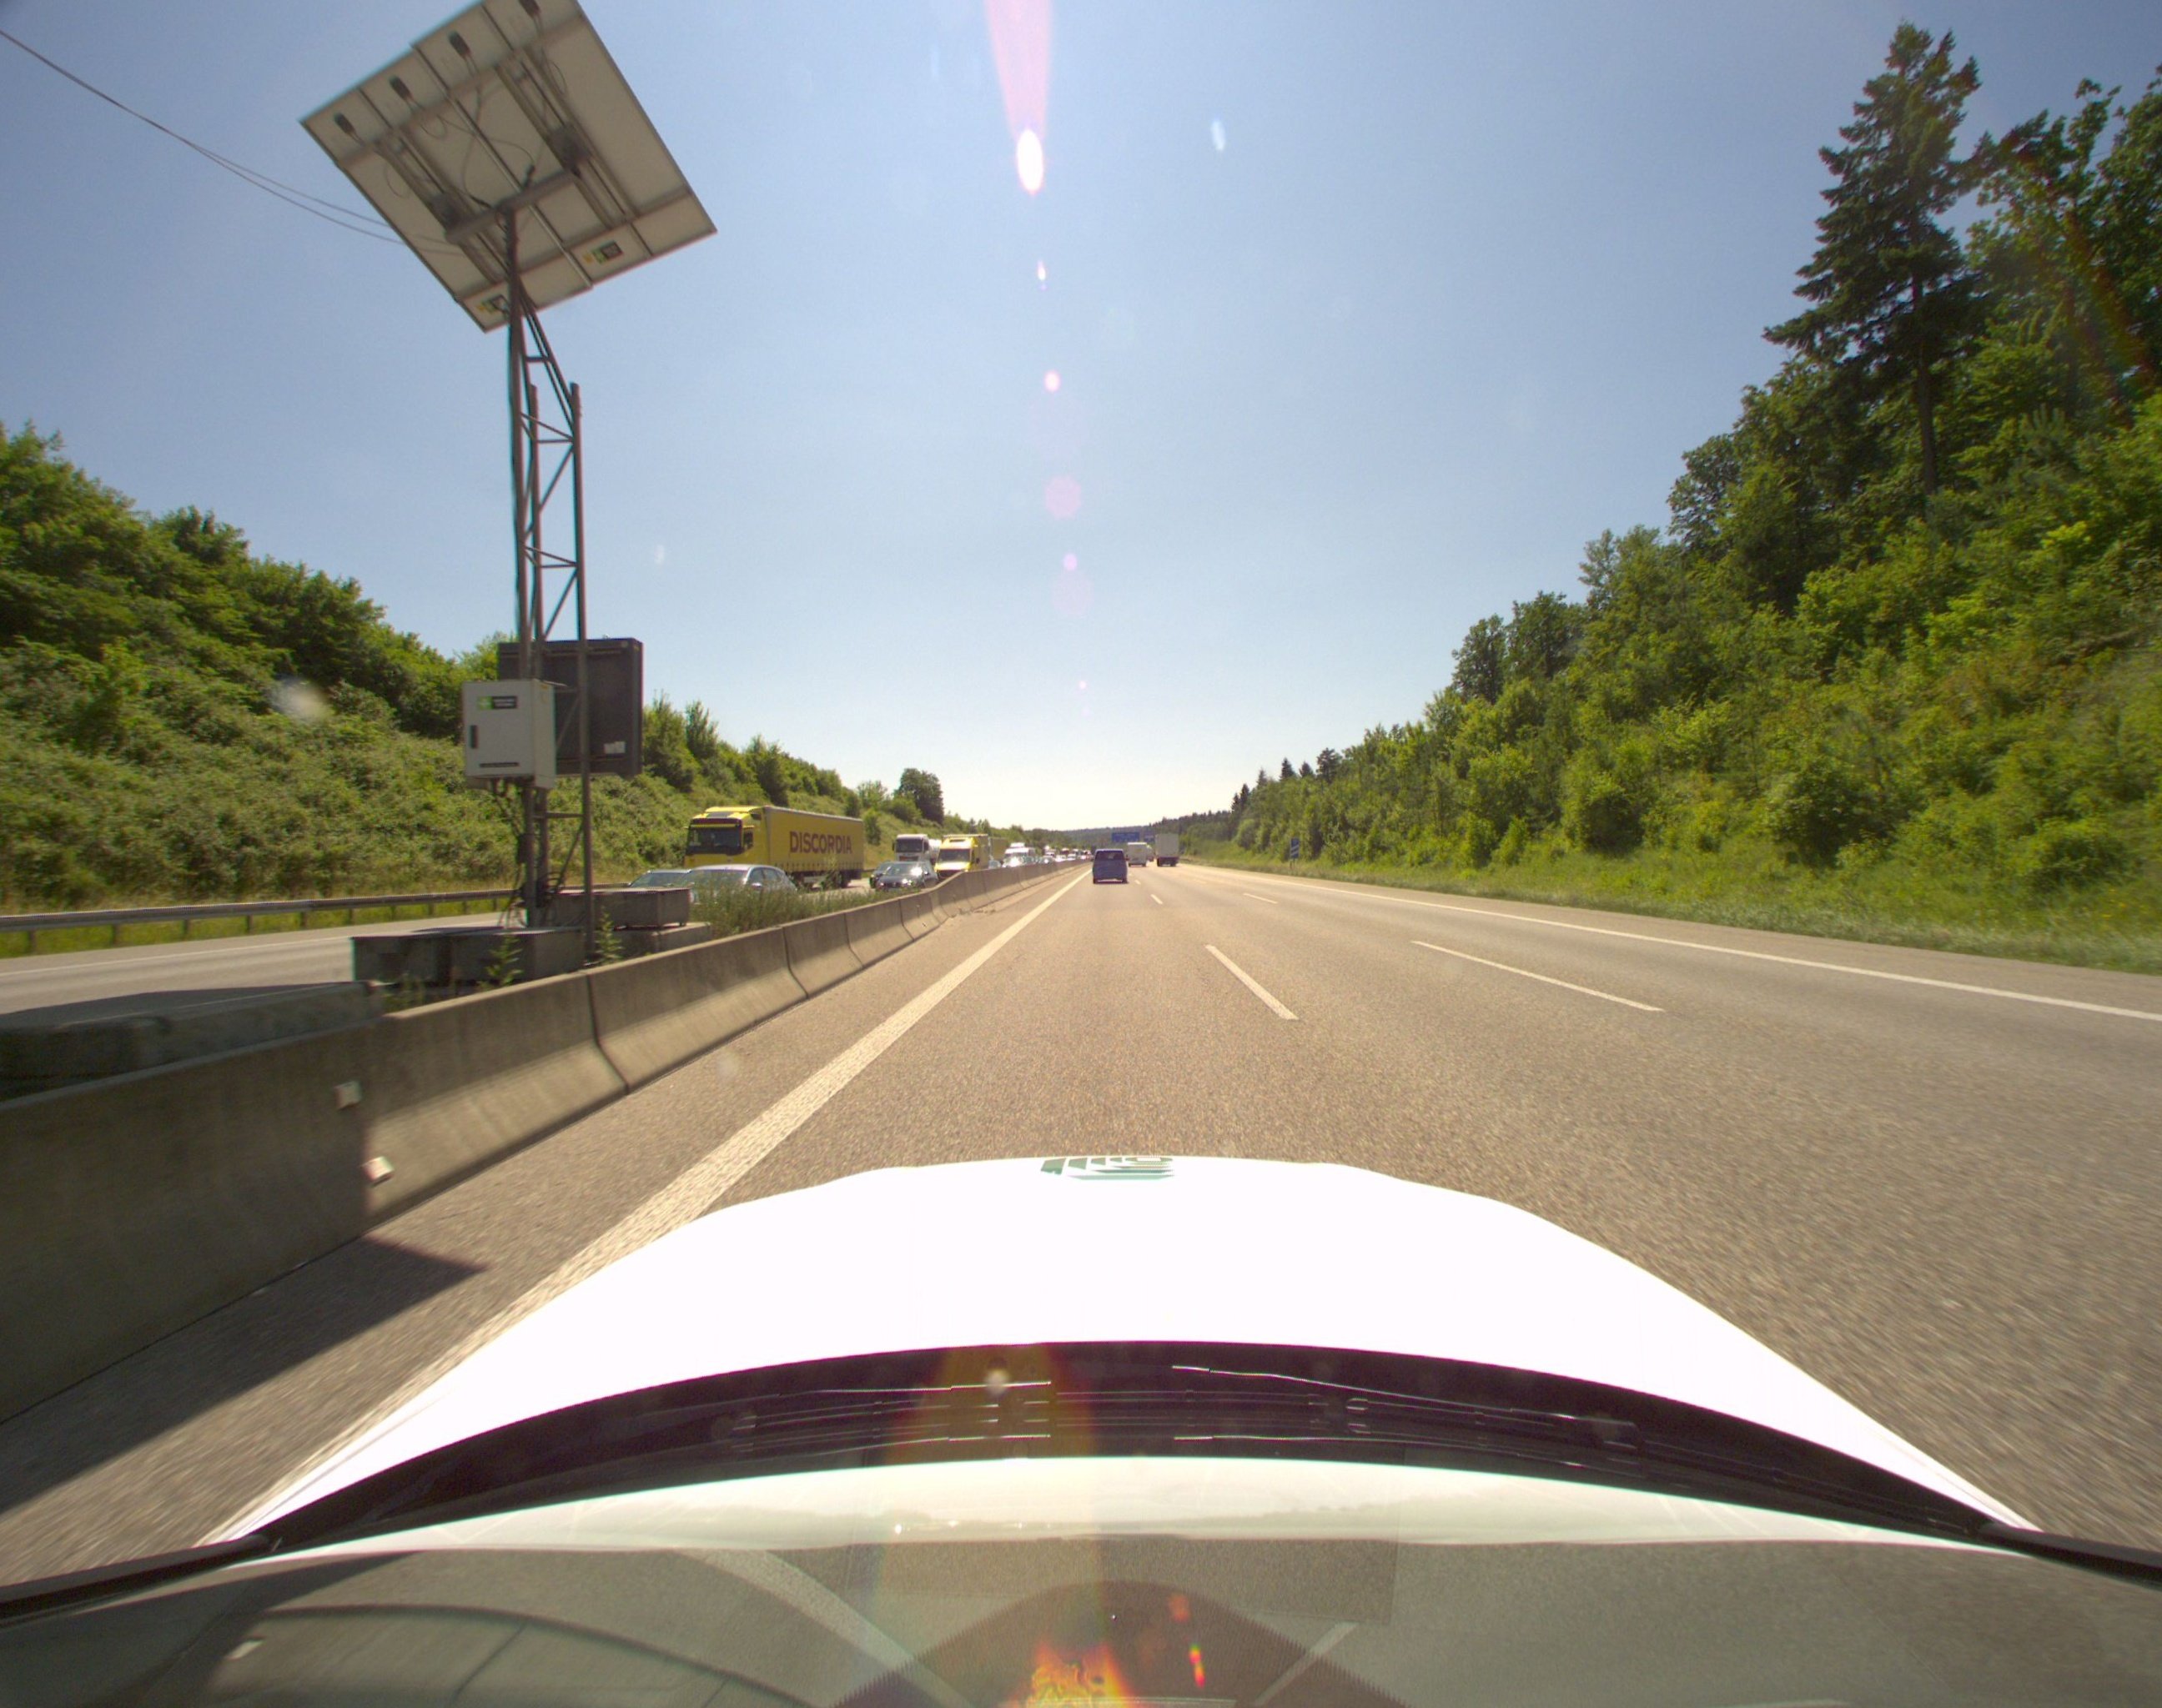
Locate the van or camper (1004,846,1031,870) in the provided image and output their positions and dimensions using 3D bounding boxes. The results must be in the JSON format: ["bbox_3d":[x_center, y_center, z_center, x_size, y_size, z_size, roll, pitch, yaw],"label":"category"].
[{"bbox_3d":[-7.915,0.535,101.918,2.187,2.939,7.542,-1,-1,4],"label":"van or camper"}]

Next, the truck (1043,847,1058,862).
[{"bbox_3d":[-6.093,0.169,162.656,2.559,2.845,6.754,-1,-1,1],"label":"truck"}]

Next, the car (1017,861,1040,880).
[{"bbox_3d":[-5.124,1.587,80.475,1.821,1.764,4.992,-1,-1,1],"label":"car"}]

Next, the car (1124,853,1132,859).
[{"bbox_3d":[10.650,0.475,185.881,1.774,1.486,4.002,-1,0,2],"label":"car"}]

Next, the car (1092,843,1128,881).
[{"bbox_3d":[1.588,0.447,45.365,1.902,2.014,4.001,-1,-1,2],"label":"car"}]

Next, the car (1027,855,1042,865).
[{"bbox_3d":[-7.487,0.921,131.148,1.821,1.493,4.993,-1,0,2],"label":"car"}]

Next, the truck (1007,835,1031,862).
[{"bbox_3d":[-10.704,-0.836,141.945,2.929,4.516,8.613,-1,-1,4],"label":"truck"}]

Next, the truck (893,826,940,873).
[{"bbox_3d":[-13.694,-0.353,68.067,2.670,3.743,5.871,-1,-1,0],"label":"truck"}]

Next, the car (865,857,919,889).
[{"bbox_3d":[-10.738,1.059,46.651,1.821,1.764,4.992,-1,-1,1],"label":"car"}]

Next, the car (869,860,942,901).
[{"bbox_3d":[-6.823,0.992,32.138,1.822,1.497,4.758,-1,-1,0],"label":"car"}]

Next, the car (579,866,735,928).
[{"bbox_3d":[-11.532,1.092,22.585,1.822,1.497,4.758,-1,-1,0],"label":"car"}]

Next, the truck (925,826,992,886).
[{"bbox_3d":[-6.585,0.123,44.614,2.258,3.016,6.782,-1,-1,3],"label":"truck"}]

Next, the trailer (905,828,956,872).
[{"bbox_3d":[-13.617,-0.345,74.570,2.602,3.733,10.679,-1,0,0],"label":"trailer"}]

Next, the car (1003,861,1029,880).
[{"bbox_3d":[-5.544,1.381,69.810,1.822,1.497,4.758,-1,-1,0],"label":"car"}]

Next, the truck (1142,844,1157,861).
[{"bbox_3d":[14.940,-0.313,178.951,2.915,3.575,8.535,-3,0,4],"label":"truck"}]

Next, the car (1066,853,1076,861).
[{"bbox_3d":[-2.042,0.673,162.370,1.821,1.565,5.112,-1,-1,1],"label":"car"}]

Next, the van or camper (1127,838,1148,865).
[{"bbox_3d":[7.127,-0.360,103.828,2.592,3.078,7.190,-1,3,3],"label":"van or camper"}]

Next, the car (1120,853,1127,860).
[{"bbox_3d":[11.035,0.583,209.977,1.769,1.772,4.002,-1,0,2],"label":"car"}]

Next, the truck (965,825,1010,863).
[{"bbox_3d":[-11.722,-1.105,103.892,3.684,4.456,16.672,-1,-1,0],"label":"truck"}]

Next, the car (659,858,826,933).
[{"bbox_3d":[-7.514,0.855,18.669,1.822,1.497,4.758,-1,-1,0],"label":"car"}]

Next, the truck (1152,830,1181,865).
[{"bbox_3d":[10.819,-0.732,103.901,2.773,4.128,9.741,-1,-1,1],"label":"truck"}]

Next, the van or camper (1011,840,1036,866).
[{"bbox_3d":[-6.456,-0.036,92.151,2.244,2.775,7.216,-1,-1,0],"label":"van or camper"}]

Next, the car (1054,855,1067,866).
[{"bbox_3d":[-3.278,1.051,131.372,1.821,1.764,4.992,-1,-1,1],"label":"car"}]

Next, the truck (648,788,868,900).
[{"bbox_3d":[-15.172,-0.299,41.234,3.682,4.456,17.388,-1,-1,2],"label":"truck"}]
